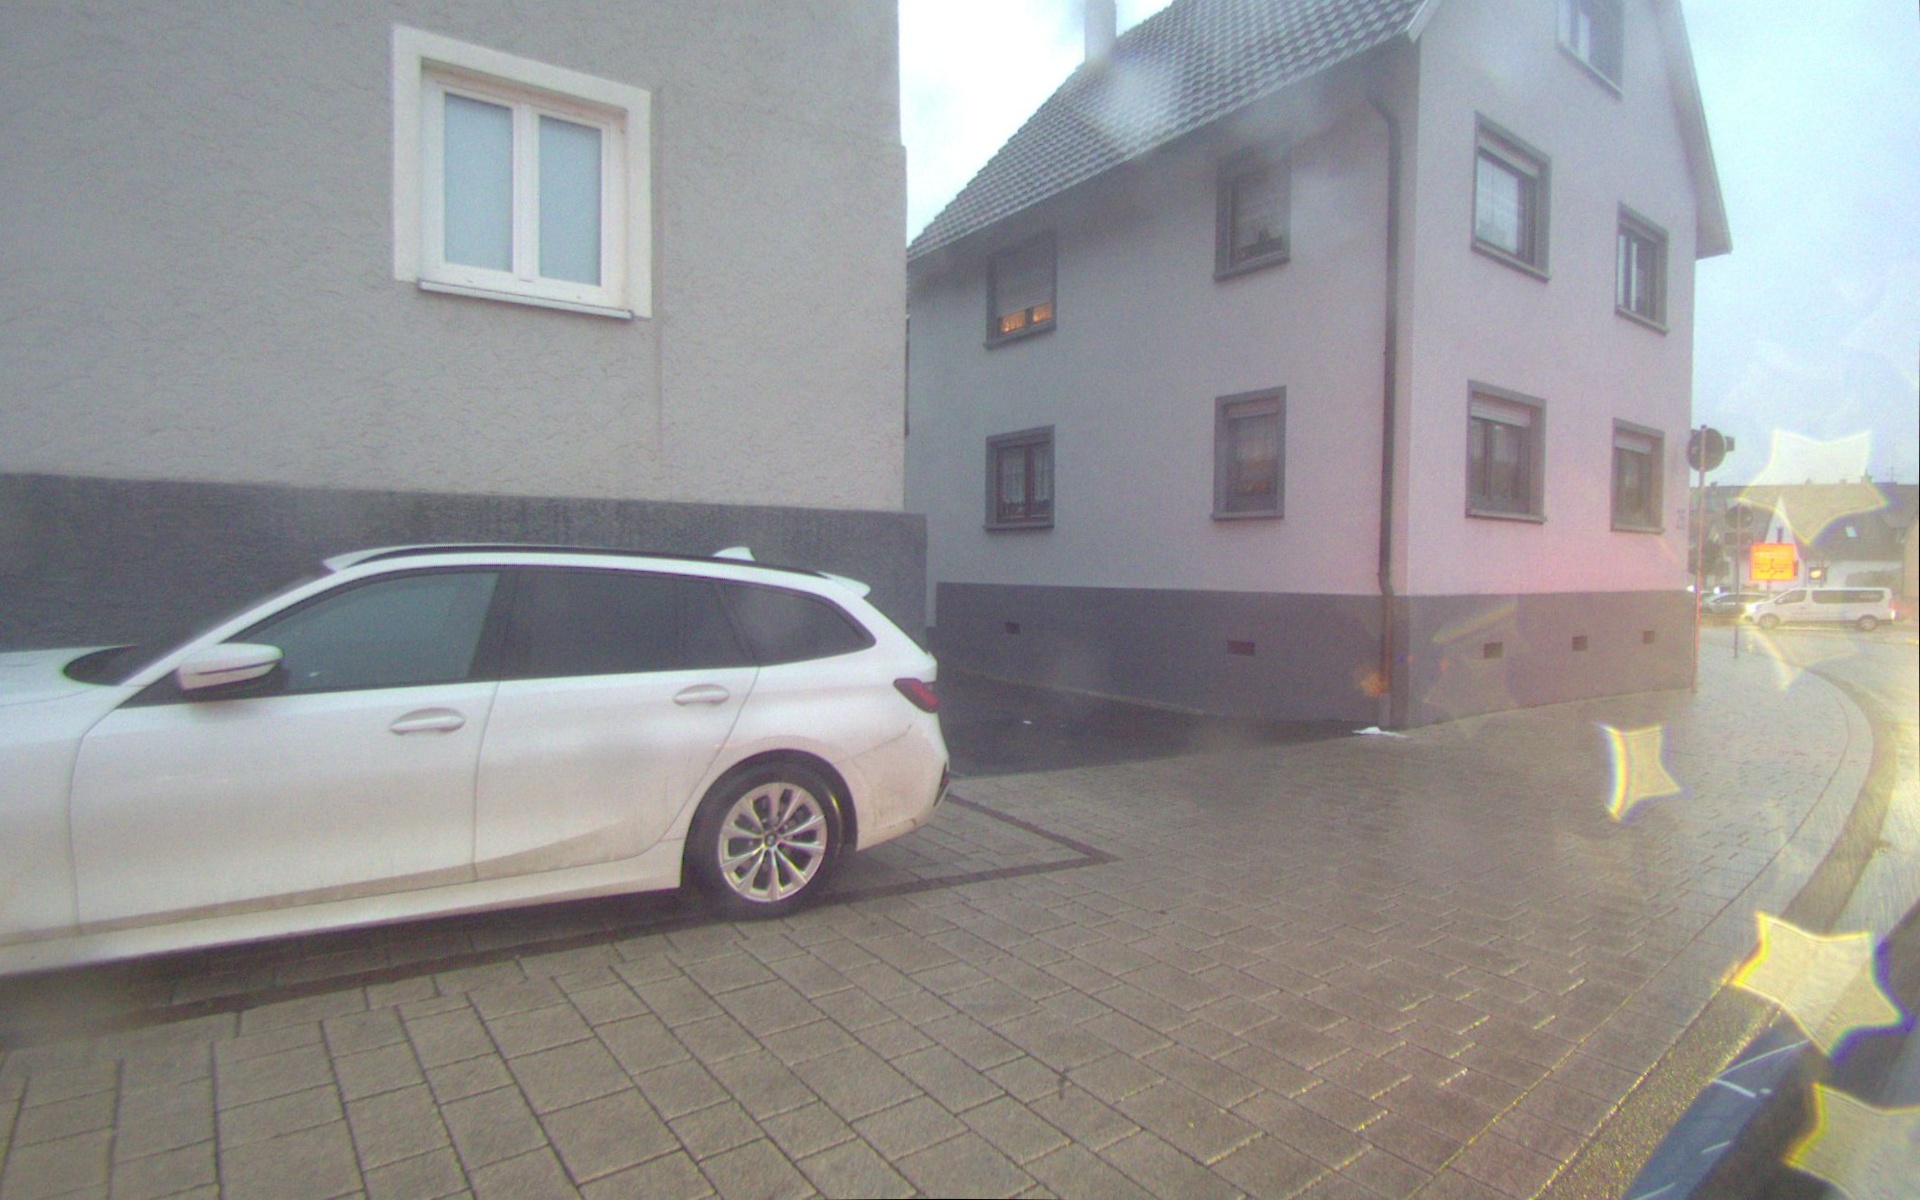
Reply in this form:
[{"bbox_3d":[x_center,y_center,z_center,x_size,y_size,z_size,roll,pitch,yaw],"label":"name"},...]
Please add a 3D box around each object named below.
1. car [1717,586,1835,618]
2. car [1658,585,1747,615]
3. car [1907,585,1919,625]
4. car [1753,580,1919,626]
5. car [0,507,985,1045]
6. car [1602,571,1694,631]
[{"bbox_3d":[46.841,0.107,58.221,4.823,1.705,1.986,2,0,21],"label":"car"},{"bbox_3d":[49.479,-0.004,67.512,4.370,1.824,1.833,2,1,19],"label":"car"},{"bbox_3d":[41.509,0.254,40.722,4.393,1.652,2.142,1,2,20],"label":"car"},{"bbox_3d":[39.947,0.126,46.168,5.737,1.970,1.967,0,0,33],"label":"car"},{"bbox_3d":[-2.301,0.450,4.086,4.452,1.484,1.892,1,2,-31],"label":"car"},{"bbox_3d":[24.939,0.013,36.838,1.959,1.984,4.810,2,1,25],"label":"car"}]
